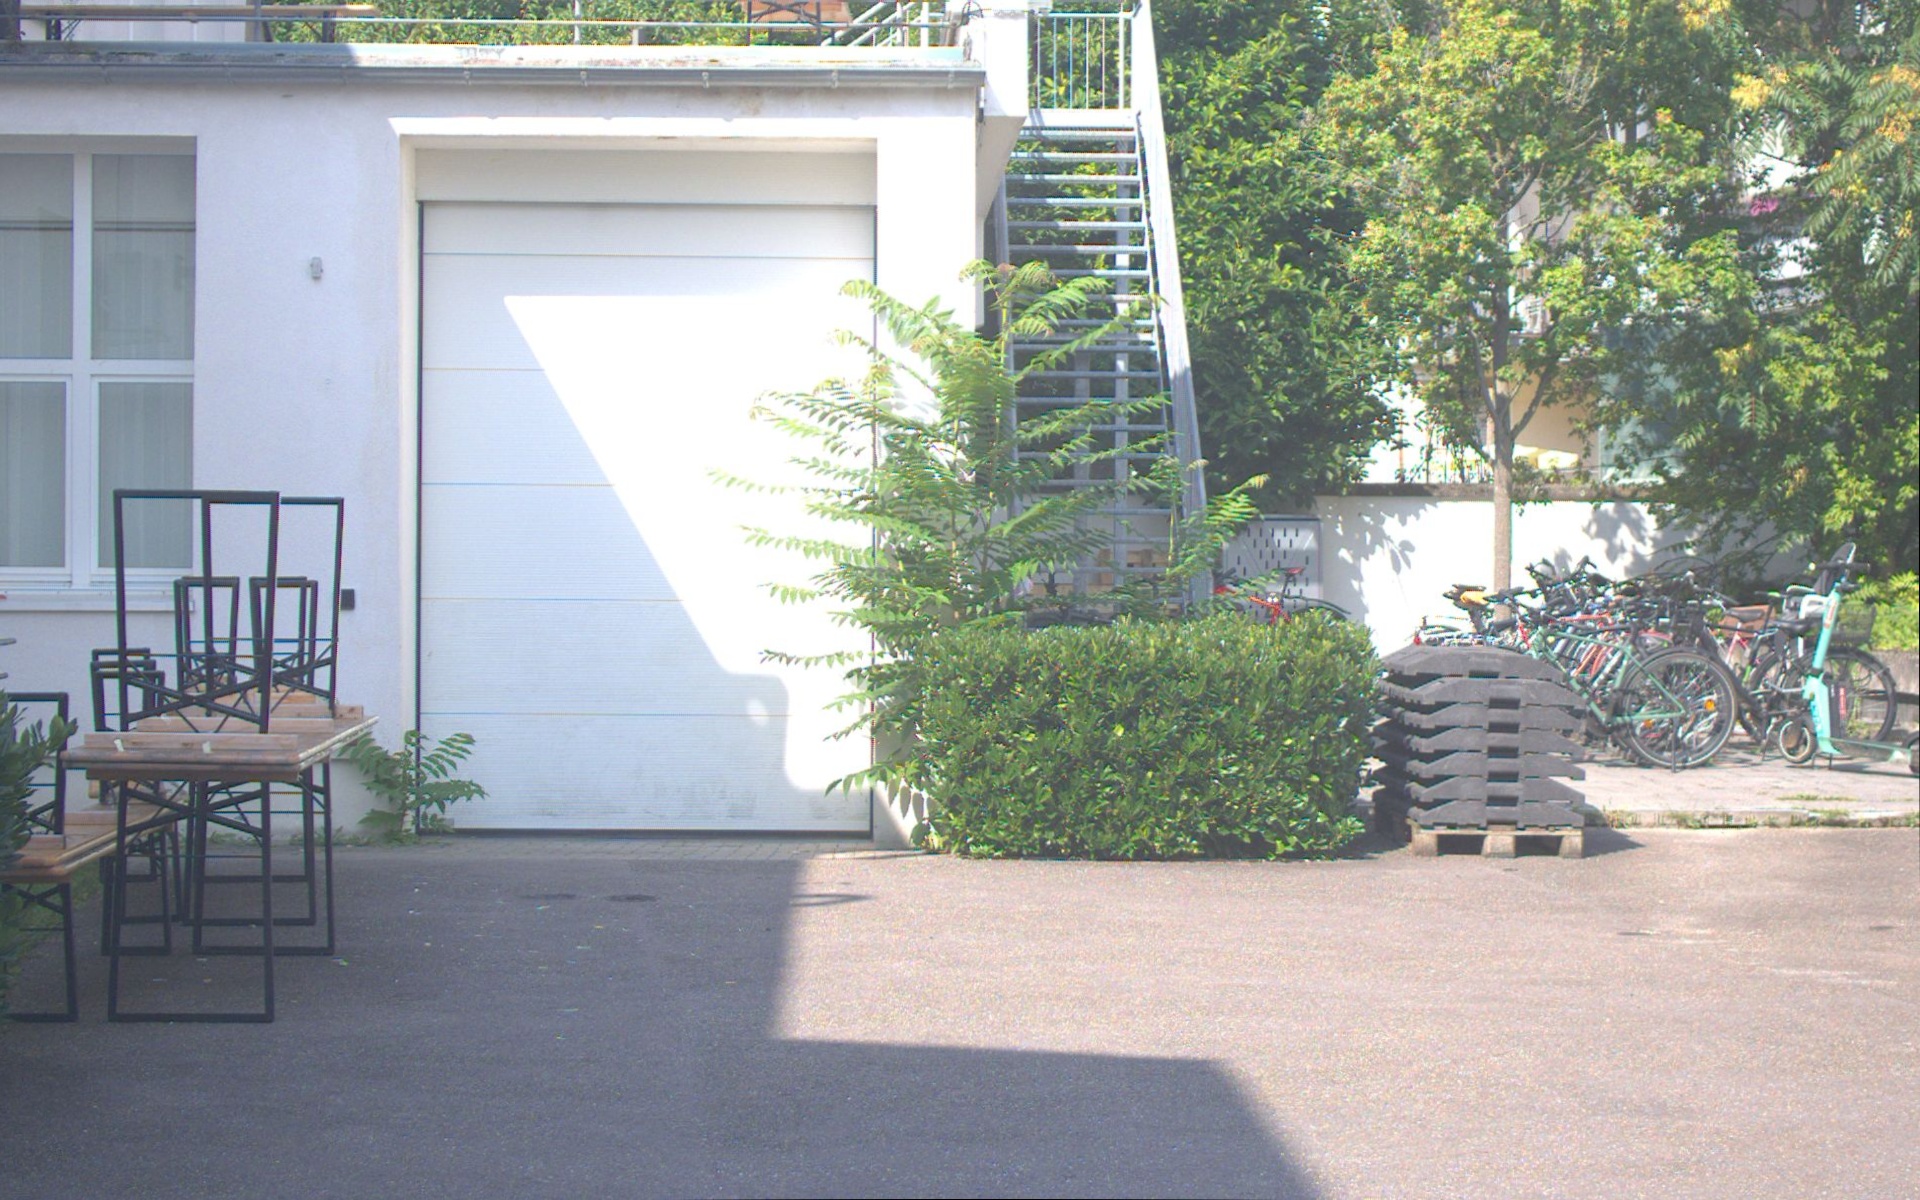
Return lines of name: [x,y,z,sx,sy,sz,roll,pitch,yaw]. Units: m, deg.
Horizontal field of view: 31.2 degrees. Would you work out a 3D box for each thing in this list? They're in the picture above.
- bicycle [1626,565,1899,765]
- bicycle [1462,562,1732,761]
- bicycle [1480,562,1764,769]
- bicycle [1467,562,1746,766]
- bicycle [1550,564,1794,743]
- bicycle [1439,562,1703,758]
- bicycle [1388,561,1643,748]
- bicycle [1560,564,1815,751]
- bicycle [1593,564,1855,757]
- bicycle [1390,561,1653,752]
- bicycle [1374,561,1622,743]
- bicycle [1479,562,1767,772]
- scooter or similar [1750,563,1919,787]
bicycle: [4.939,0.393,21.193,1.624,1.210,0.327,0,1,14]
bicycle: [3.932,0.378,21.273,1.623,1.210,0.327,0,1,9]
bicycle: [3.947,0.387,20.528,1.623,1.210,0.327,0,1,0]
bicycle: [3.909,0.383,20.821,1.623,1.210,0.327,0,1,0]
bicycle: [4.890,0.363,23.656,1.624,1.210,0.424,0,1,11]
bicycle: [3.844,0.373,21.635,1.624,1.210,0.327,0,1,12]
bicycle: [3.702,0.356,22.944,1.623,1.210,0.424,-1,1,-7]
bicycle: [4.777,0.374,22.627,1.624,1.210,0.424,0,1,11]
bicycle: [4.890,0.382,22.054,1.624,1.210,0.424,0,1,12]
bicycle: [3.636,0.362,22.308,1.623,1.210,0.424,0,1,-2]
bicycle: [3.680,0.348,23.546,1.623,1.210,0.424,-1,1,-6]
bicycle: [3.890,0.390,20.205,1.623,1.210,0.327,0,1,0]
scooter or similar: [5.229,0.417,19.988,0.378,1.256,1.349,-1,1,-33]
